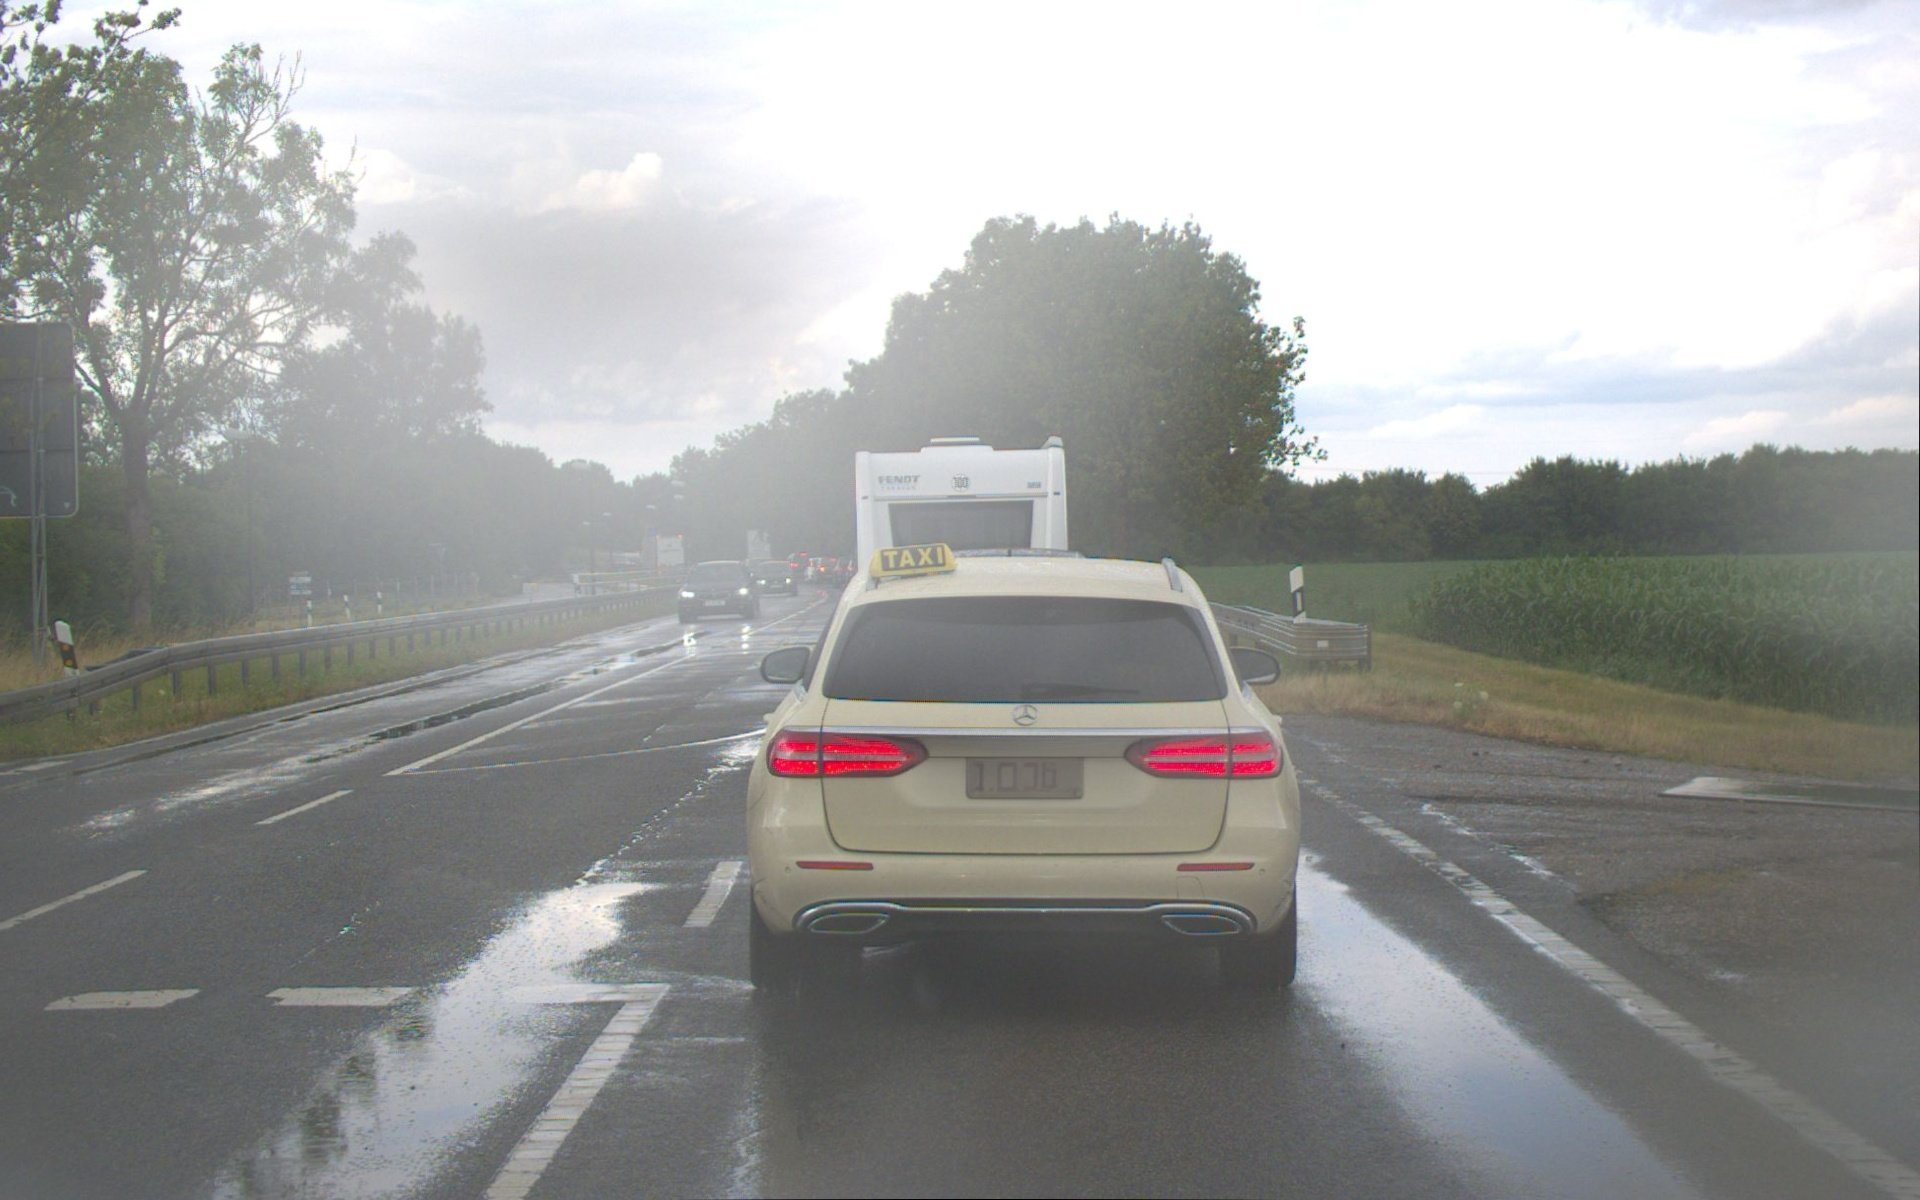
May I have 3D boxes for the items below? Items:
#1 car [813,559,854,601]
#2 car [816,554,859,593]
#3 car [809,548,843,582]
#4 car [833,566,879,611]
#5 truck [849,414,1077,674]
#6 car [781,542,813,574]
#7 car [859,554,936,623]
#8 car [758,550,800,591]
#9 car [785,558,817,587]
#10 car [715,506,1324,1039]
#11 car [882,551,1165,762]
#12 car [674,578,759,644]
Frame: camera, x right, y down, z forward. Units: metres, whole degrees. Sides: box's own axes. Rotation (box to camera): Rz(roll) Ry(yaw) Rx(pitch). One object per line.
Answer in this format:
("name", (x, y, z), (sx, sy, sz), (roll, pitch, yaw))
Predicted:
("car", (-6.173, -0.995, 168.000), (1.852, 2.007, 3.811), (-1, 1, -1))
("car", (-5.653, -1.254, 159.506), (1.879, 1.755, 3.834), (-1, 1, -1))
("car", (-7.449, -1.973, 191.224), (1.740, 1.853, 3.785), (-1, 1, -1))
("car", (-4.241, -0.489, 140.941), (1.791, 1.771, 3.721), (-1, 1, -1))
("truck", (-0.004, -0.655, 40.252), (2.363, 2.719, 7.314), (-1, 1, -1))
("car", (-9.928, -2.525, 209.082), (1.895, 1.888, 3.844), (-1, 1, -3))
("car", (-1.708, -0.332, 95.483), (1.915, 1.834, 3.795), (-1, 1, 2))
("car", (-7.362, -1.199, 139.857), (1.580, 1.634, 3.442), (-1, 1, -1))
("car", (-9.264, -1.592, 200.430), (1.748, 1.656, 3.673), (-1, 1, -4))
("car", (0.161, 0.499, 12.441), (1.842, 1.612, 4.000), (0, 1, -1))
("car", (0.433, 0.386, 26.733), (1.993, 1.457, 4.000), (2, 1, -1))
("car", (-6.049, 0.245, 85.785), (1.828, 1.568, 4.000), (1, 1, 0))
